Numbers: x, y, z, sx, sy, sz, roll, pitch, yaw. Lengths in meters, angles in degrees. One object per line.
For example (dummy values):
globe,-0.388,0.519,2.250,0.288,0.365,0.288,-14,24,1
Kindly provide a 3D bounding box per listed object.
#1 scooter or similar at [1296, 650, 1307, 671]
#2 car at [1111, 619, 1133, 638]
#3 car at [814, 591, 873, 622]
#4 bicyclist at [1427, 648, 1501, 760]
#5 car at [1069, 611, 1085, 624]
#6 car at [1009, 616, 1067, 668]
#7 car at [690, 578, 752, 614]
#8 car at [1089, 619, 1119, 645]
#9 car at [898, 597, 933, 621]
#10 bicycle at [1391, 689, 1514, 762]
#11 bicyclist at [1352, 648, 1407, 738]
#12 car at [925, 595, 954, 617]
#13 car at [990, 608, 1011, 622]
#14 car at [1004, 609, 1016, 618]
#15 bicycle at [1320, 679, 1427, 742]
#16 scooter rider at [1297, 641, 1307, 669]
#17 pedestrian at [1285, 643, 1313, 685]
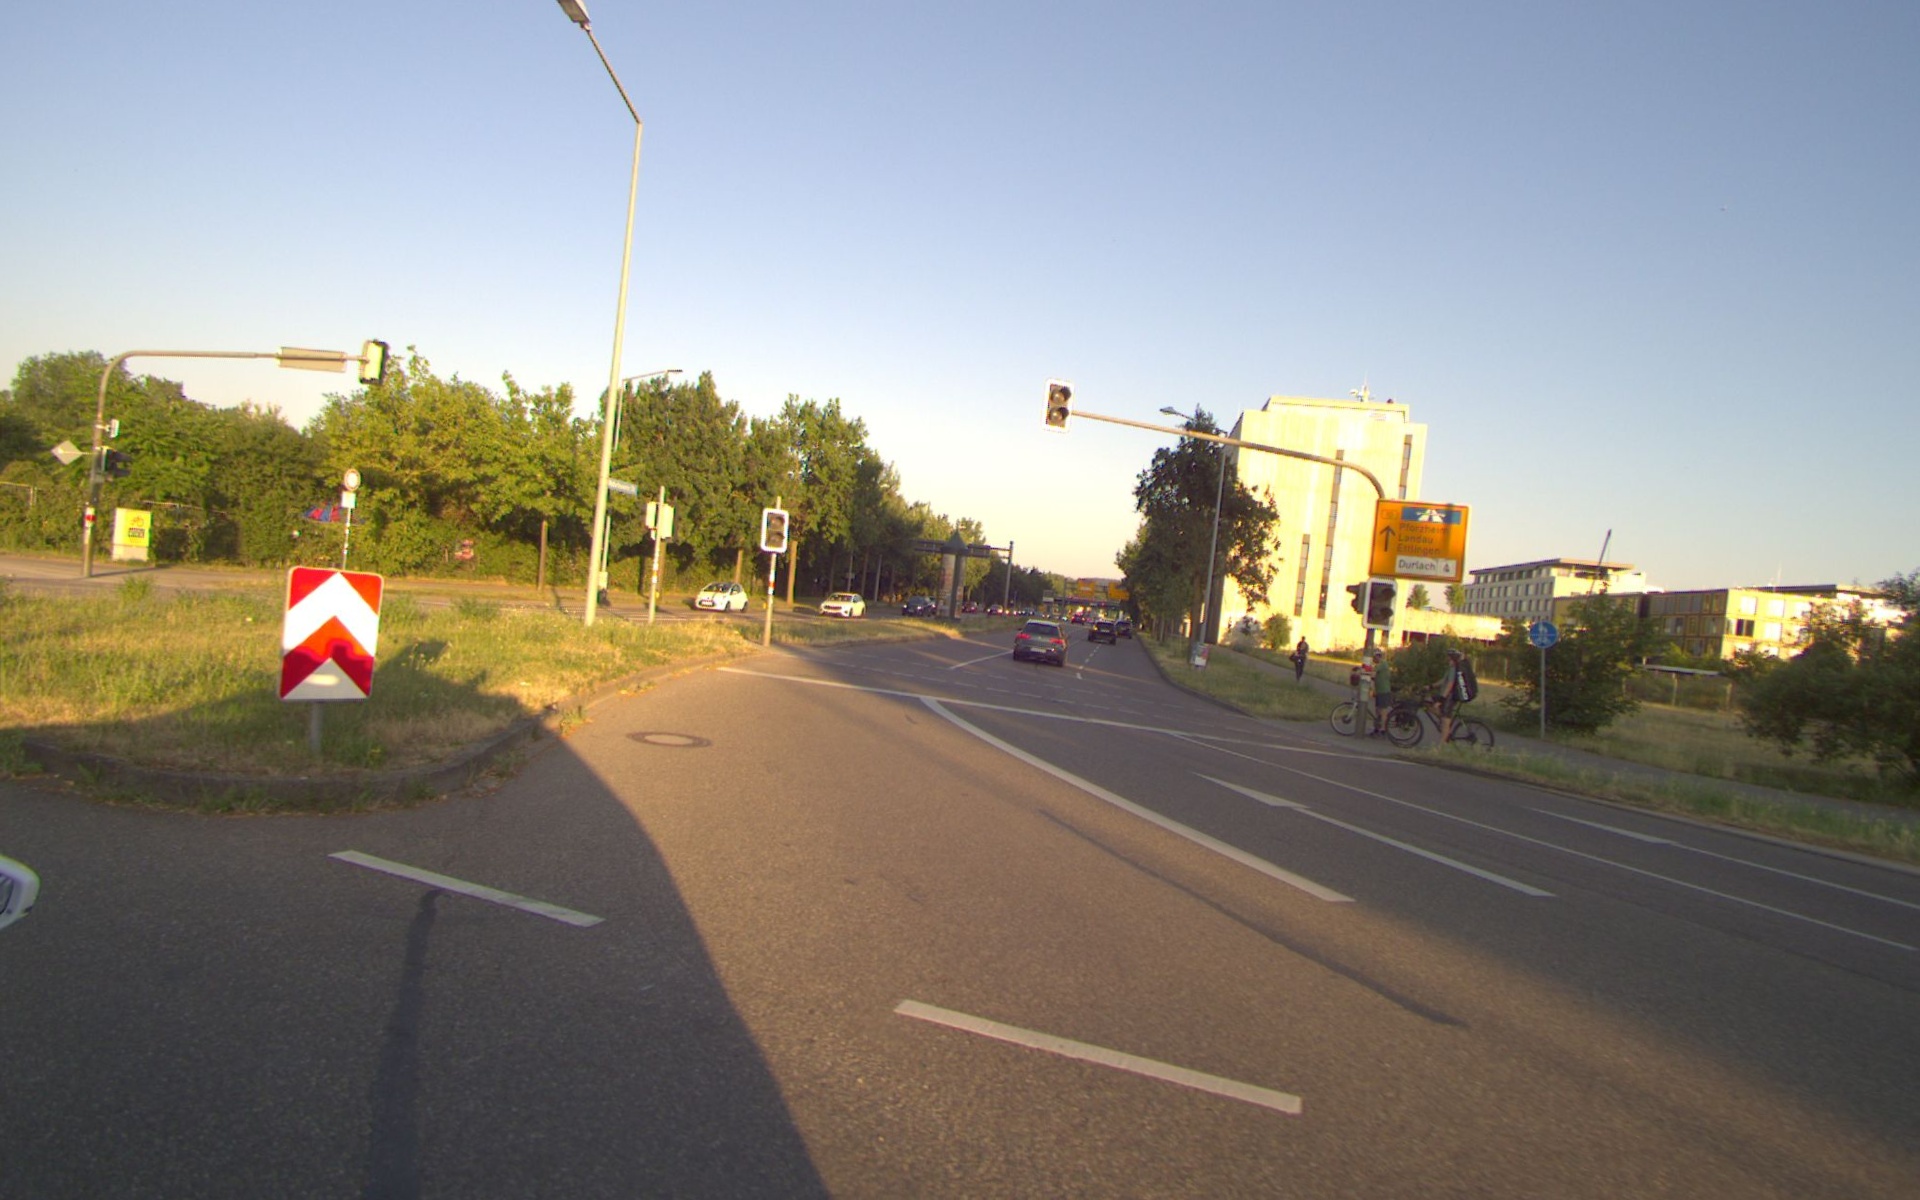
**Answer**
scooter or similar,16.453,2.919,48.463,0.242,0.925,1.039,7,1,12
car,14.612,2.532,90.558,1.718,1.507,4.136,7,0,10
car,-6.676,0.412,58.292,1.695,1.467,4.550,6,0,16
bicyclist,9.208,1.887,18.407,0.892,1.922,0.641,5,1,6
car,16.170,2.405,138.613,1.962,1.489,4.001,7,0,7
car,2.712,1.398,34.755,1.718,1.442,4.135,7,0,5
car,-11.638,-0.158,49.251,1.524,1.461,3.489,6,-1,11
car,9.932,2.184,69.720,1.784,1.544,4.135,7,0,7
car,-3.504,0.770,79.853,1.769,1.653,4.458,6,-1,8
bicycle,8.999,2.283,18.413,1.891,1.099,0.457,5,1,6
bicyclist,8.566,1.886,20.577,0.755,1.724,0.641,4,1,6
car,-1.890,0.619,93.734,1.886,1.776,4.924,5,-1,6
car,5.029,1.919,125.174,1.810,1.478,4.584,7,-1,10
car,8.500,2.383,170.868,1.588,1.325,3.718,5,-1,9
bicycle,8.442,2.251,20.574,1.891,1.099,0.457,4,1,6
scooter rider,16.462,2.644,48.430,0.260,1.356,0.406,7,1,12
pedestrian,13.564,2.548,40.252,0.781,1.569,0.568,6,1,9
